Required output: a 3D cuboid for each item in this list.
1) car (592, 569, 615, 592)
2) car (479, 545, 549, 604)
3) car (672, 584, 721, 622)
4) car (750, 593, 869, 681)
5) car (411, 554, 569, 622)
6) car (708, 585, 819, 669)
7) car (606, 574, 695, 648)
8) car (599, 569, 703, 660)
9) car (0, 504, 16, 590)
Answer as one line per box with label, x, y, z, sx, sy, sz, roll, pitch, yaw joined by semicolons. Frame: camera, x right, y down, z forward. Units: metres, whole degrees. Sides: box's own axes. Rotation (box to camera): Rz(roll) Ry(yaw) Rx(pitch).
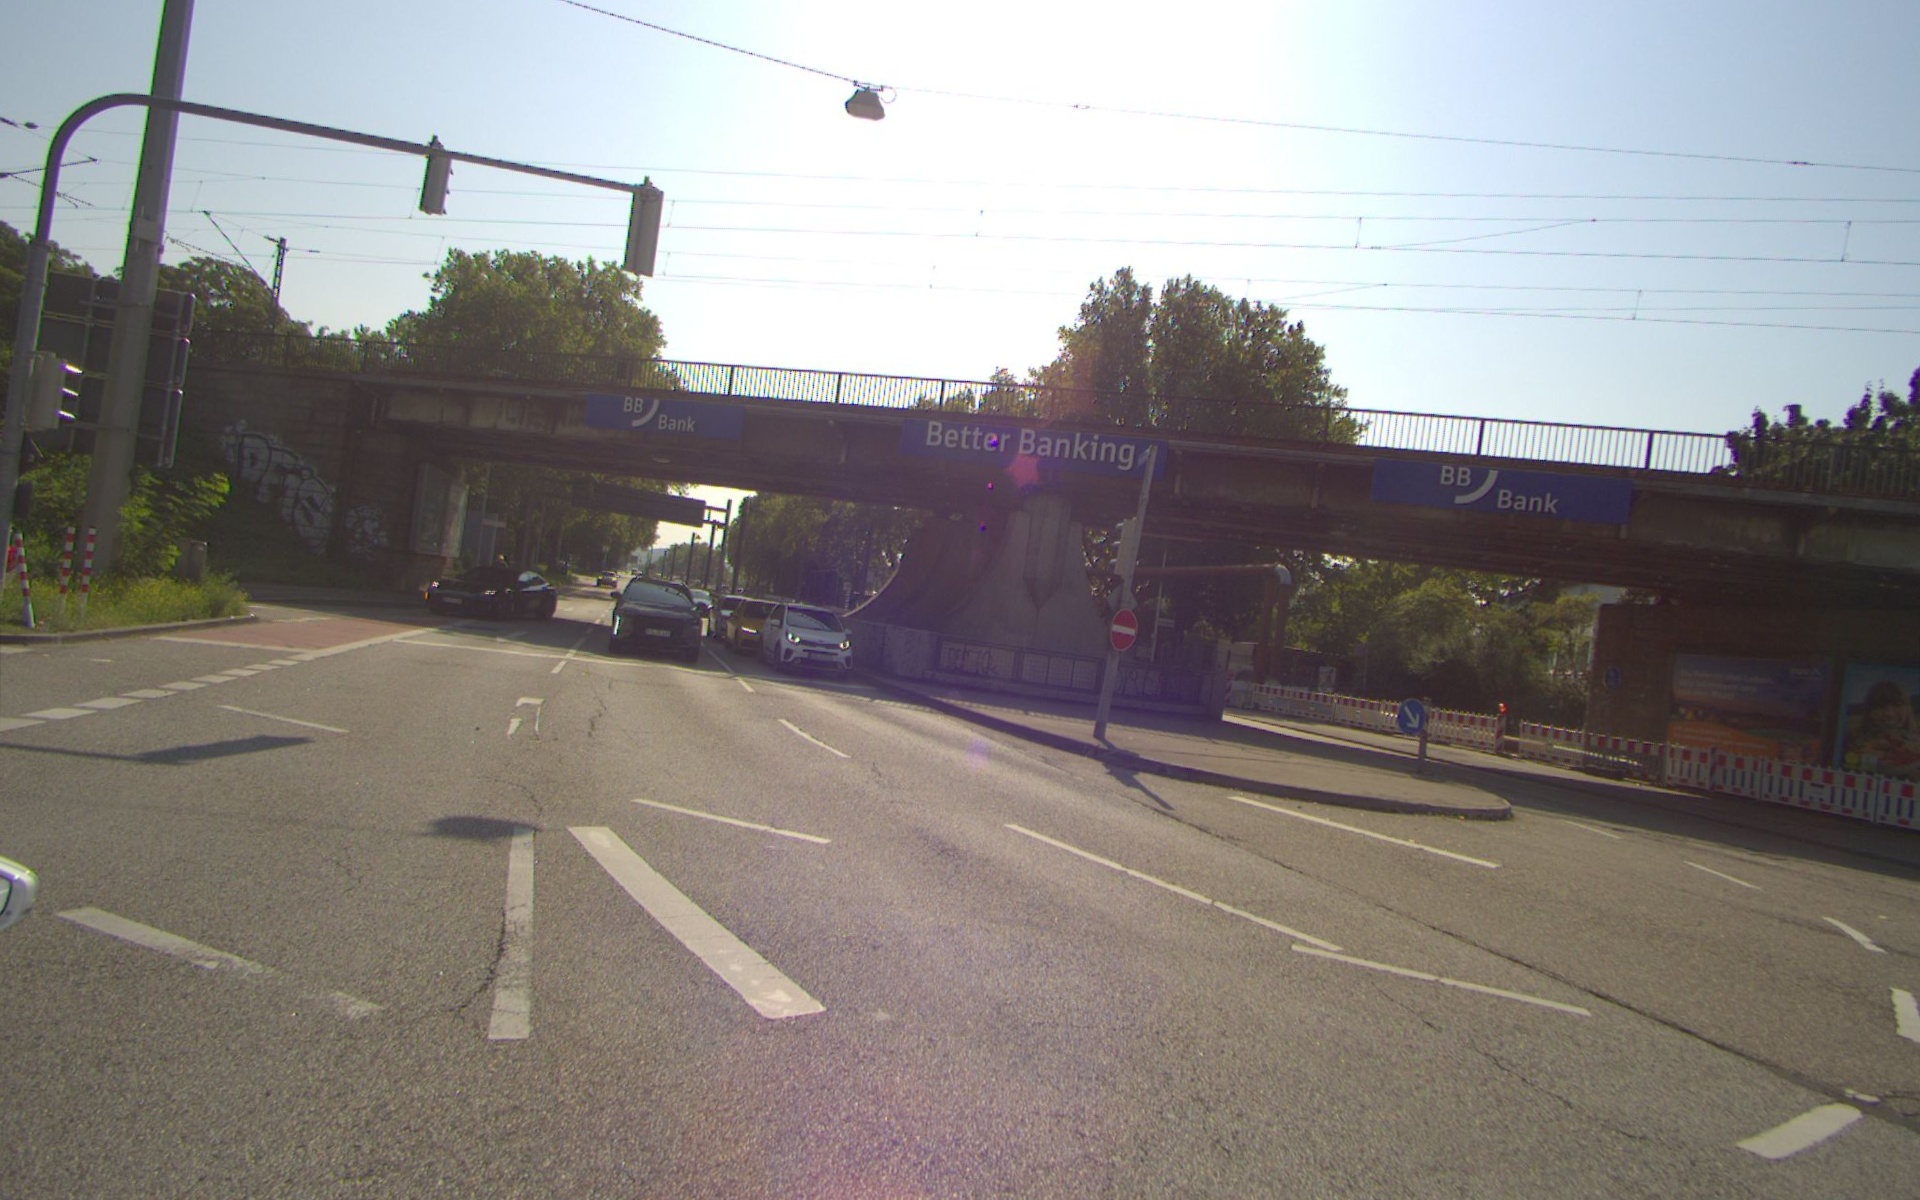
car;-37.188;-2.017;104.919;1.975;2.035;3.982;11;-2;-20
car;-17.435;-0.991;39.470;1.975;1.869;3.982;11;-2;-20
car;-13.732;0.120;52.248;1.833;1.500;4.164;9;-1;-22
car;-3.464;0.768;22.655;1.704;1.557;3.678;7;-1;-22
car;-13.123;-0.264;28.491;1.963;1.480;4.888;9;-1;0
car;-5.358;0.655;26.988;1.974;1.592;4.323;9;0;-22
car;-9.010;0.262;29.075;1.974;1.540;4.323;9;0;-22
car;-6.886;0.290;22.645;1.879;1.636;4.461;7;-1;-16
car;-18.635;-1.205;17.133;1.622;1.484;3.537;7;-2;44
